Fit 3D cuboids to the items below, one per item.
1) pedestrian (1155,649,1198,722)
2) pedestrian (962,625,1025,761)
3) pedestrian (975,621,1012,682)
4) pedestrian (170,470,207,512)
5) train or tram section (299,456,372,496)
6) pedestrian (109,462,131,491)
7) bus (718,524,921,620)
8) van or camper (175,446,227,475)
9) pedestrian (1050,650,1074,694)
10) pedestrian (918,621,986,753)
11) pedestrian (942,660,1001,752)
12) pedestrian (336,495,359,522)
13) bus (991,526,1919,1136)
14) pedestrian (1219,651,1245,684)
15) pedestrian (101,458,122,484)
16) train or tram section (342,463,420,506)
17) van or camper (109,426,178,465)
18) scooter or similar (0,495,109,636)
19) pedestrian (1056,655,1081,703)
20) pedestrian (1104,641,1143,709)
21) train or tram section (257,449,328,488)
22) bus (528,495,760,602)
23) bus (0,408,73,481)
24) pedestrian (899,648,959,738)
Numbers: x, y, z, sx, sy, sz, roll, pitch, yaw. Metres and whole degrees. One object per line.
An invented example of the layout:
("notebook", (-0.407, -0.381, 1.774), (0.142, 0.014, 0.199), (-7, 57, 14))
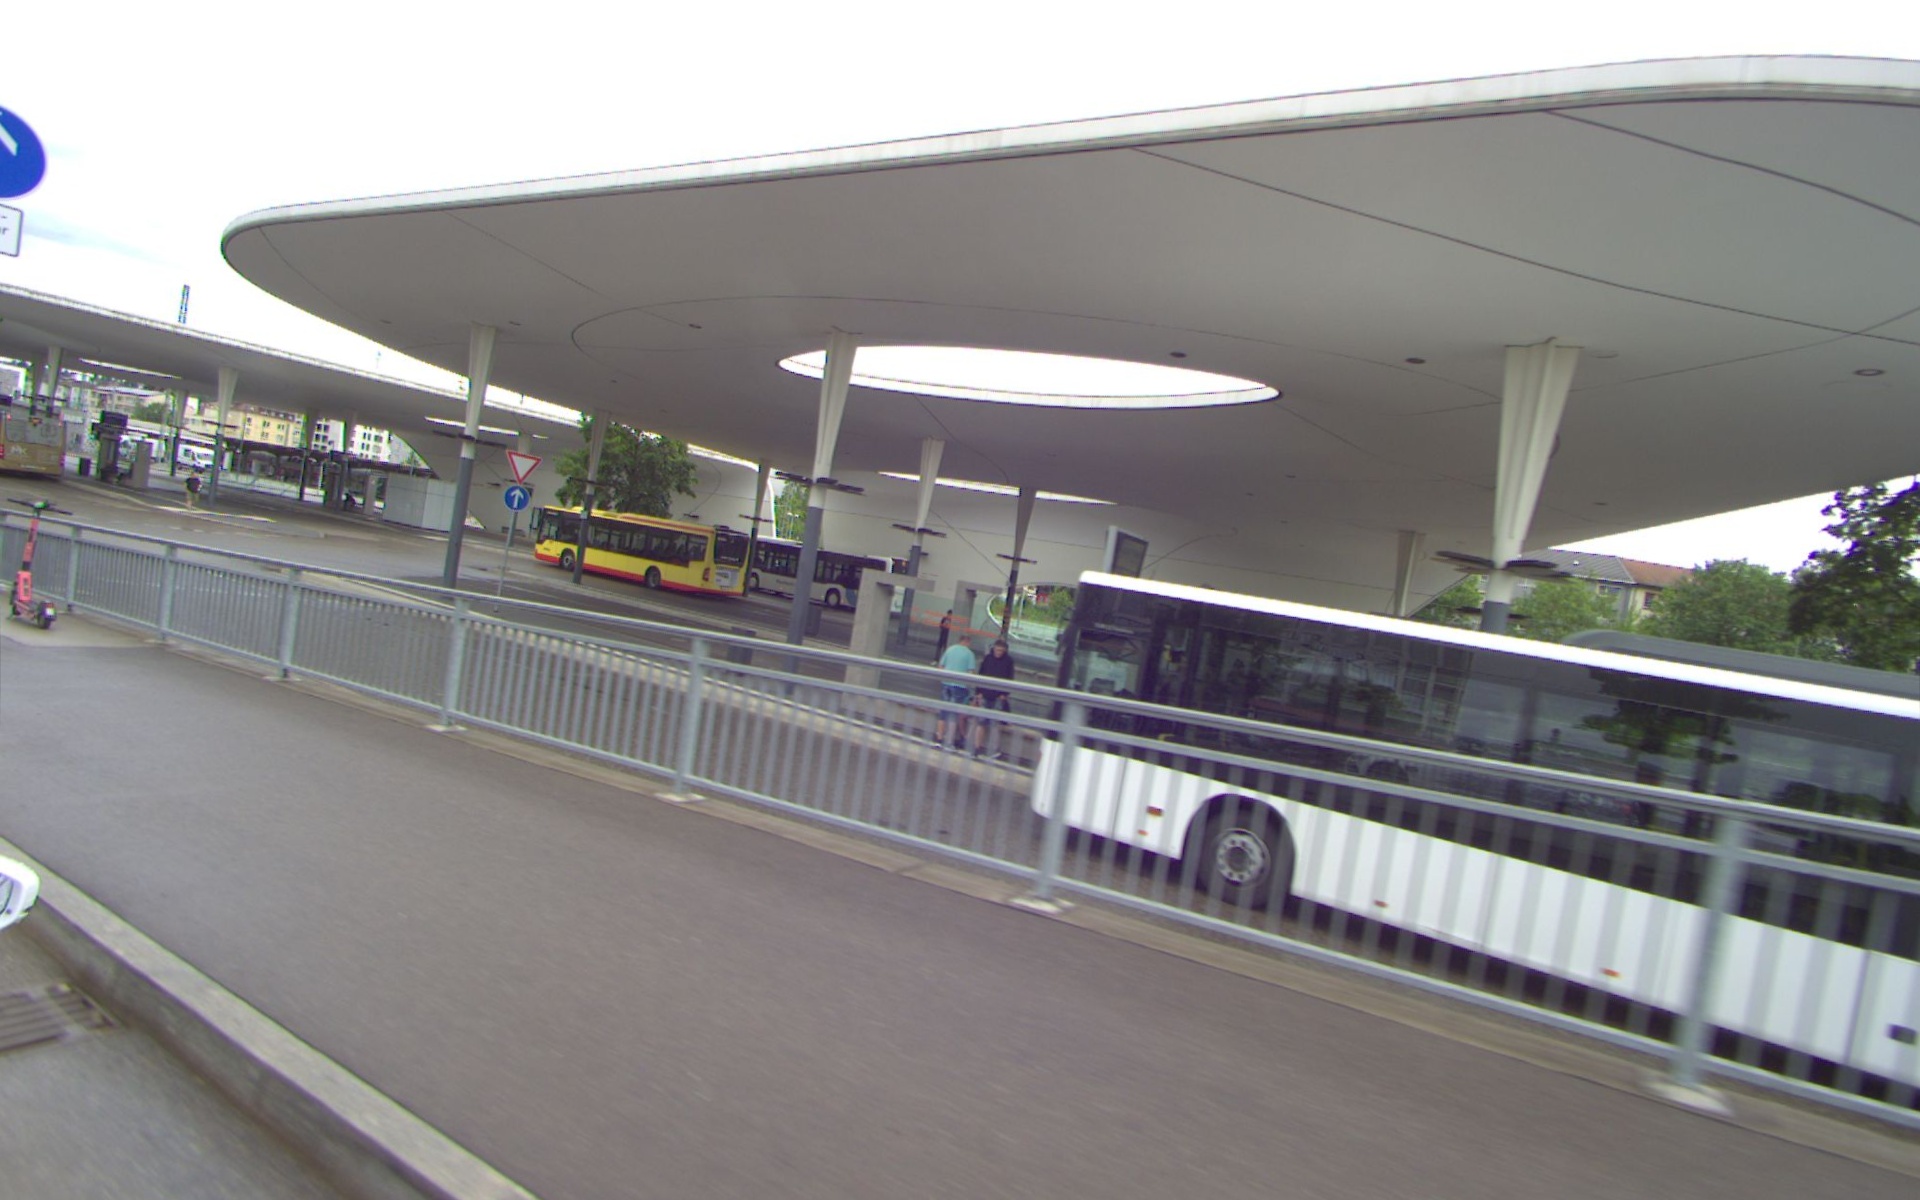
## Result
("pedestrian", (5.430, 2.146, 25.291), (0.629, 1.676, 0.641), (8, 3, -8))
("pedestrian", (0.505, 1.402, 15.309), (0.637, 1.929, 0.585), (9, 4, 0))
("pedestrian", (0.950, 1.450, 28.338), (0.666, 1.607, 0.590), (7, -2, 28))
("pedestrian", (-34.703, -4.904, 45.263), (1.002, 1.707, 0.719), (8, 4, 6))
("train or tram section", (-83.121, -16.539, 133.741), (11.421, 3.701, 3.139), (11, 0, 32))
("pedestrian", (-45.110, -6.637, 54.038), (0.789, 1.396, 0.626), (6, 4, -41))
("bus", (-7.788, -1.603, 54.156), (11.771, 3.301, 2.466), (11, 4, 32))
("van or camper", (-72.913, -13.413, 96.613), (5.389, 2.127, 1.998), (8, -1, 32))
("pedestrian", (2.697, 1.899, 26.672), (0.387, 1.095, 0.350), (7, 3, -17))
("pedestrian", (-0.121, 1.333, 15.632), (0.637, 1.910, 0.586), (11, 2, 10))
("pedestrian", (0.201, 1.702, 16.344), (0.637, 1.273, 0.951), (10, 5, 8))
("pedestrian", (-40.166, -6.011, 65.957), (0.892, 1.605, 0.796), (9, 1, 26))
("bus", (6.475, 2.036, 9.252), (12.217, 3.400, 2.851), (11, 0, 32))
("pedestrian", (12.235, 3.033, 45.251), (0.789, 1.339, 0.710), (6, -2, 35))
("pedestrian", (-46.602, -7.086, 55.238), (0.789, 1.242, 0.626), (6, 4, -41))
("train or tram section", (-73.615, -14.734, 127.790), (11.421, 3.723, 3.139), (11, 0, 32))
("van or camper", (-79.681, -15.064, 98.230), (2.083, 2.587, 4.618), (8, -1, 31))
("scooter or similar", (-9.047, -0.365, 9.871), (1.829, 1.236, 0.464), (6, 1, 32))
("pedestrian", (2.827, 2.062, 26.272), (0.390, 1.160, 0.362), (7, 3, -17))
("pedestrian", (4.242, 1.948, 26.093), (0.548, 1.676, 0.568), (11, 4, 38))
("train or tram section", (-92.964, -18.369, 139.936), (12.117, 3.701, 3.139), (11, 0, 32))
("bus", (-14.950, -2.488, 46.889), (11.935, 3.299, 2.791), (10, 2, 31))
("bus", (-49.546, -8.352, 51.630), (11.887, 3.084, 2.722), (10, 4, 32))
("pedestrian", (-0.506, 1.530, 16.710), (0.637, 1.273, 0.951), (10, 5, 8))
